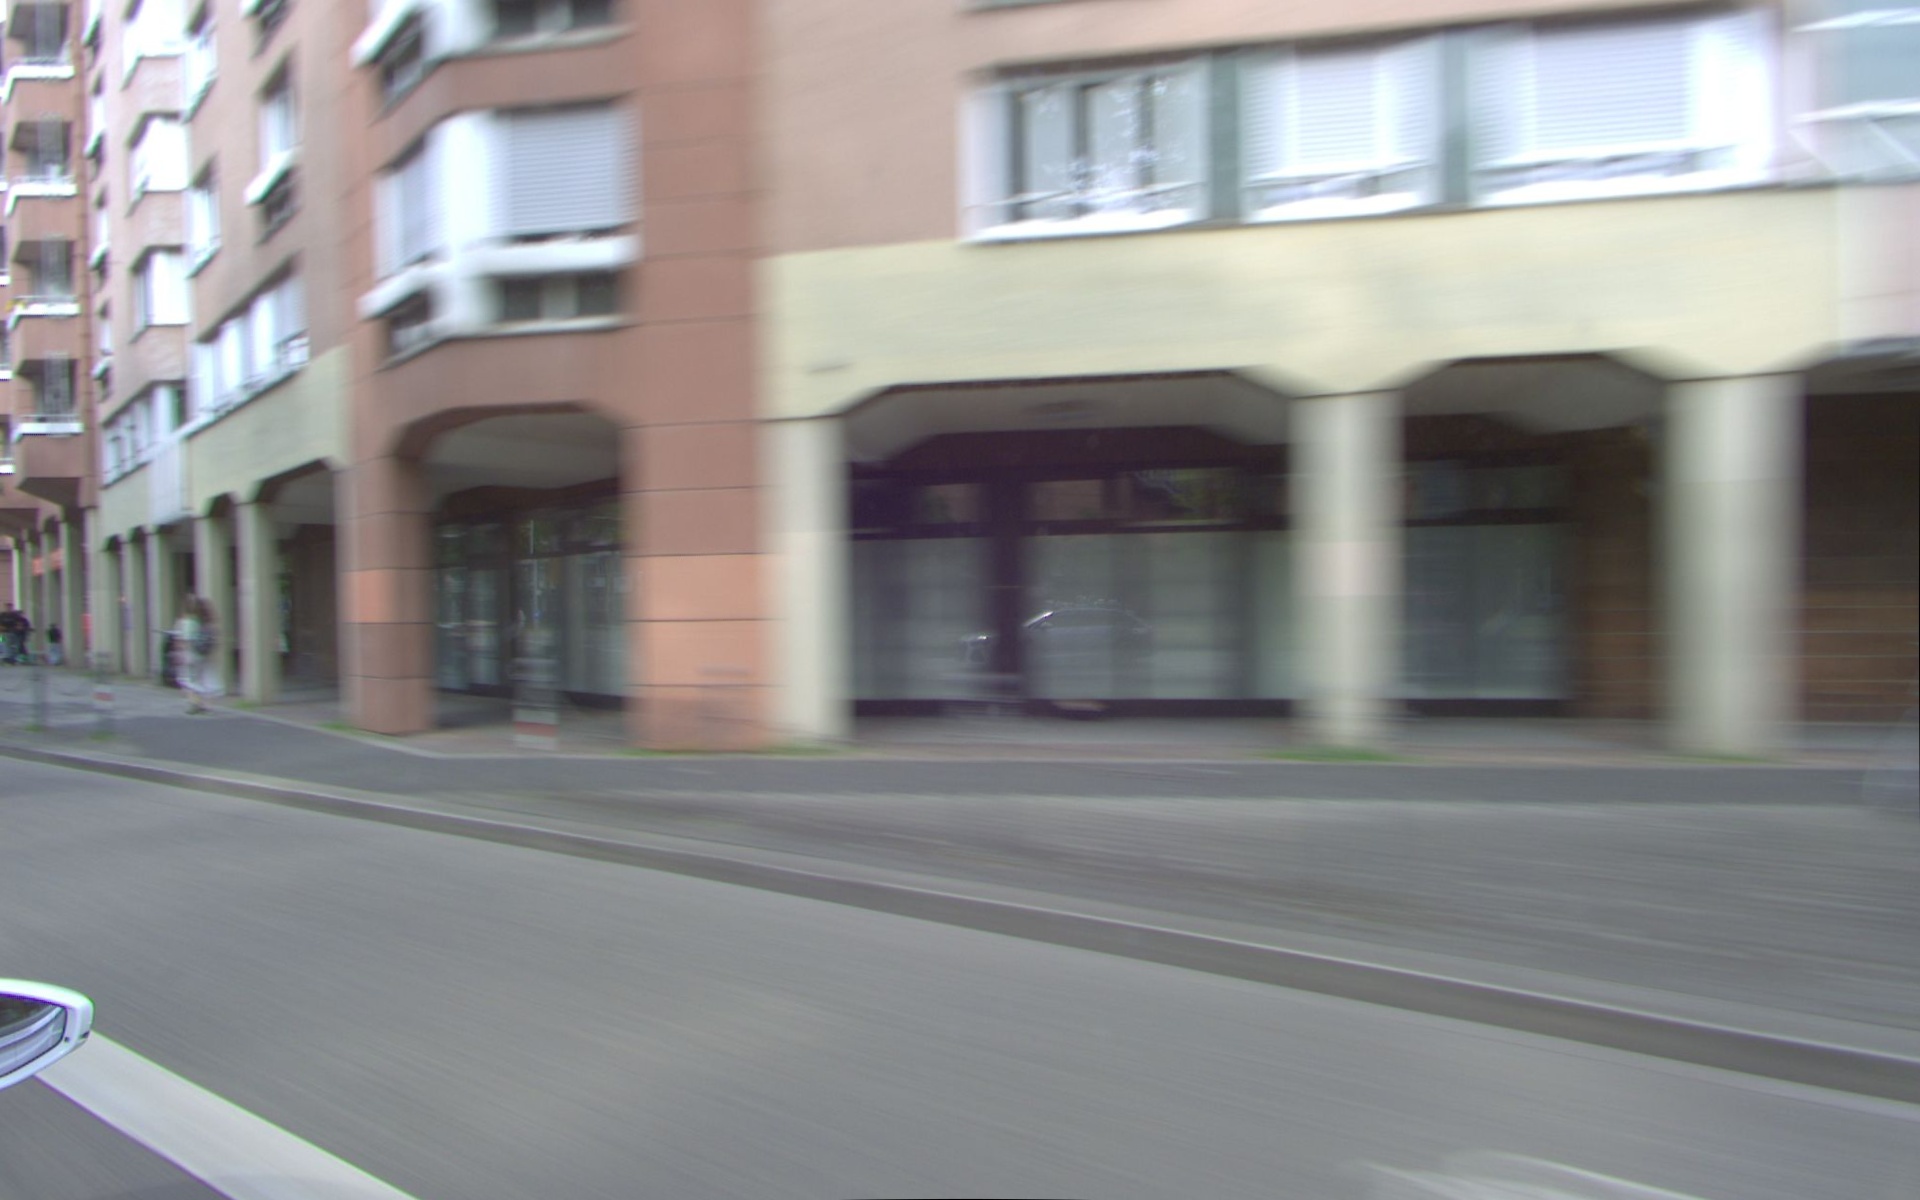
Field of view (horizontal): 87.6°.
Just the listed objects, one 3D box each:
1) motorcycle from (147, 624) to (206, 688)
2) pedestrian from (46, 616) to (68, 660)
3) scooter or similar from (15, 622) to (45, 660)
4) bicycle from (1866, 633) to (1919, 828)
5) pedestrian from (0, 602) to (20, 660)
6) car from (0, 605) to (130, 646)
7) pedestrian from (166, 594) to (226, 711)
[{"bbox_3d":[-15.736,1.093,20.104,1.883,1.171,0.613,0,2,43],"label":"motorcycle"},{"bbox_3d":[-28.265,1.184,31.346,0.483,1.341,0.480,-1,0,-45],"label":"pedestrian"},{"bbox_3d":[-30.195,1.325,32.496,1.390,1.185,0.551,-1,0,40],"label":"scooter or similar"},{"bbox_3d":[6.503,0.771,6.143,1.636,1.144,0.669,-1,1,-18],"label":"bicycle"},{"bbox_3d":[-30.243,0.965,31.773,0.650,1.823,0.548,0,0,42],"label":"pedestrian"},{"bbox_3d":[-43.007,1.198,47.988,1.979,1.849,4.799,-3,-2,43],"label":"car"},{"bbox_3d":[-11.236,0.753,14.729,0.815,1.671,0.541,0,0,41],"label":"pedestrian"}]
